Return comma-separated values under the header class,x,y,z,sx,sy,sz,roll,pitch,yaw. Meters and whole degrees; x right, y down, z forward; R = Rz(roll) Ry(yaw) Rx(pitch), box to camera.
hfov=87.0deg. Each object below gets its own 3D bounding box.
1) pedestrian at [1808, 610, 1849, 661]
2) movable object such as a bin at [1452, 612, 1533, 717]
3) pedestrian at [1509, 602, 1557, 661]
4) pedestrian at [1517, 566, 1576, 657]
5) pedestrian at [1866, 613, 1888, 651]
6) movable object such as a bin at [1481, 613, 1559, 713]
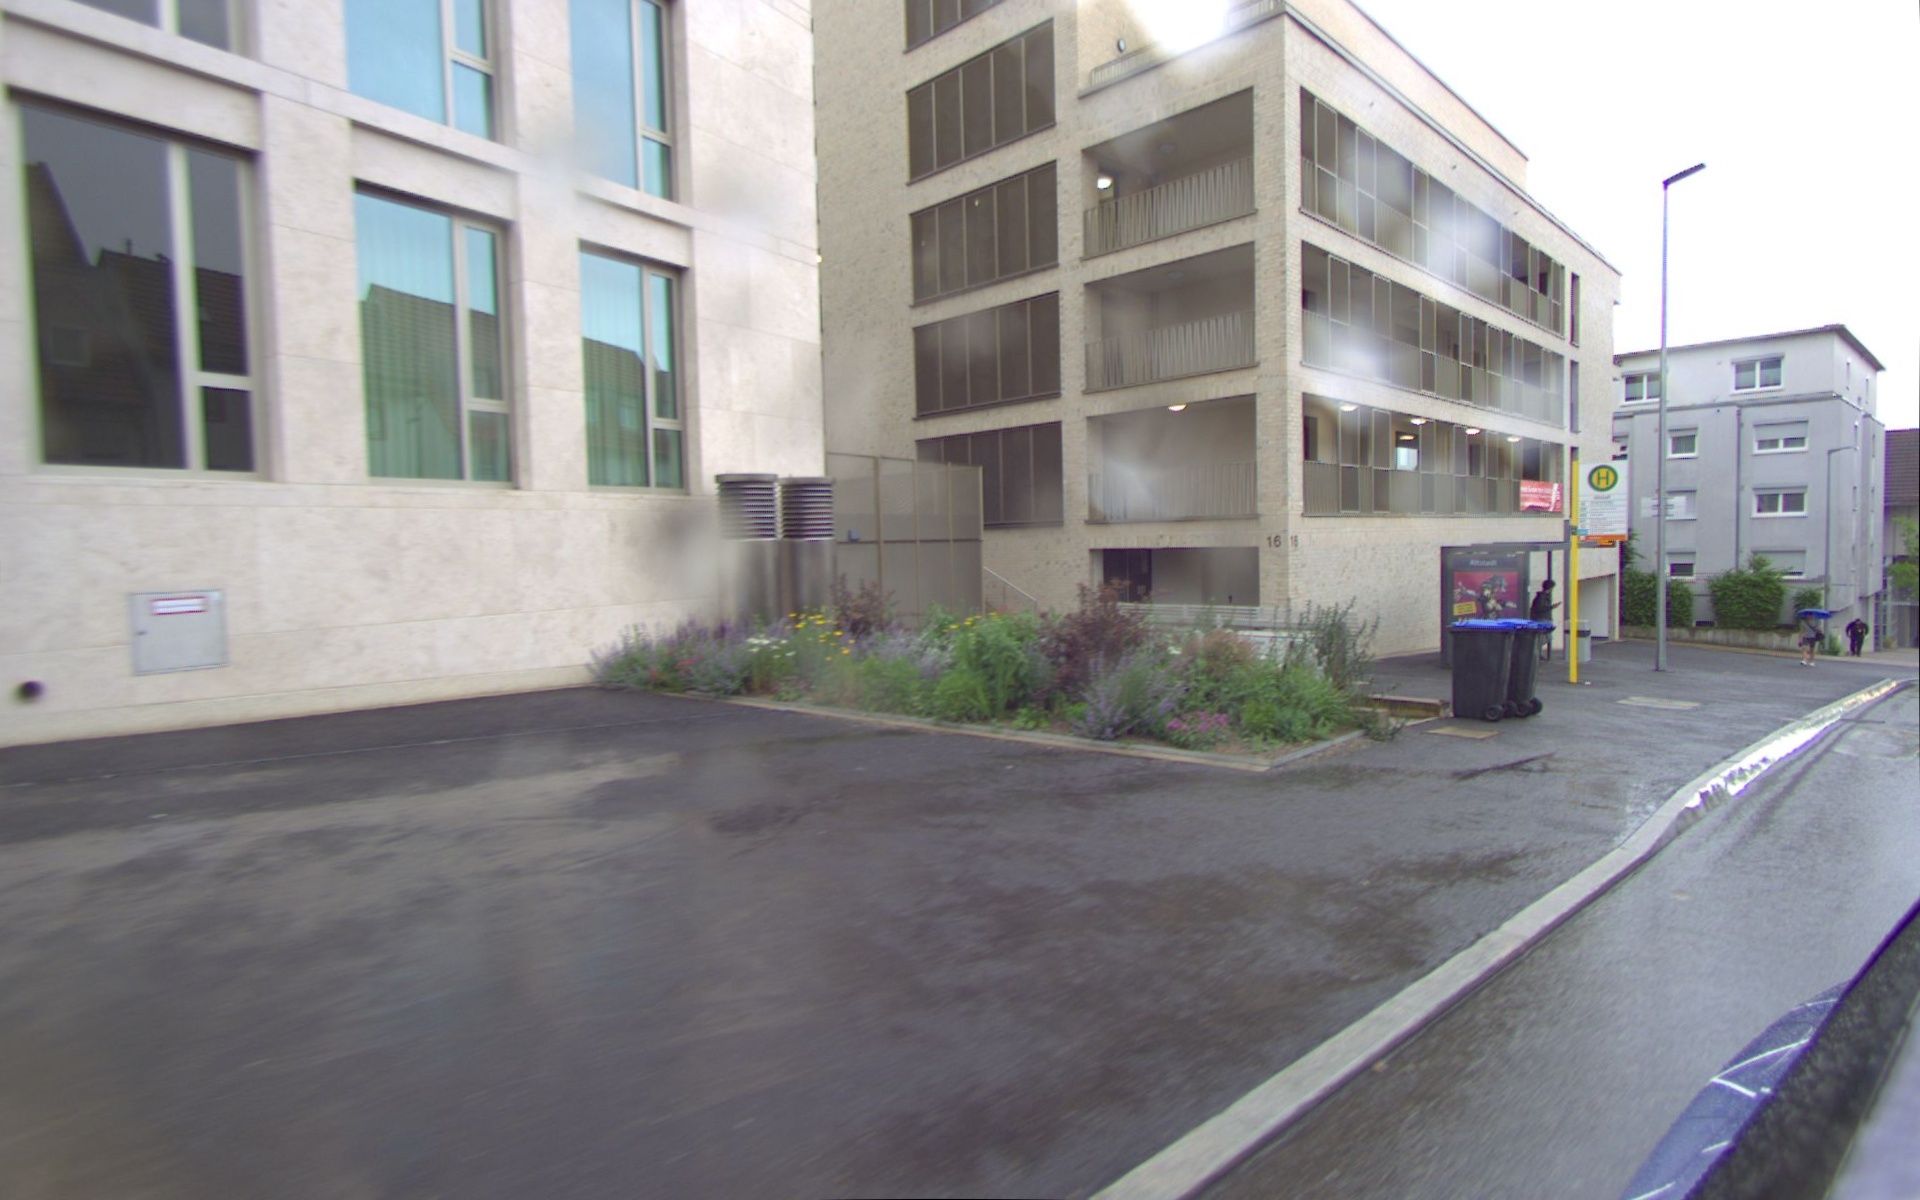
class,x,y,z,sx,sy,sz,roll,pitch,yaw
pedestrian,27.885,1.128,32.502,1.019,1.560,0.738,2,3,-40
movable object such as a bin,5.800,0.682,11.031,0.569,1.075,0.596,2,1,-43
pedestrian,12.174,0.662,21.492,0.624,1.176,0.673,2,2,-42
pedestrian,13.041,0.247,22.514,1.003,1.964,0.783,2,2,-42
pedestrian,39.364,1.369,43.442,0.690,1.576,0.700,1,-1,42
movable object such as a bin,6.358,0.697,11.497,0.569,1.075,0.596,2,1,-43
